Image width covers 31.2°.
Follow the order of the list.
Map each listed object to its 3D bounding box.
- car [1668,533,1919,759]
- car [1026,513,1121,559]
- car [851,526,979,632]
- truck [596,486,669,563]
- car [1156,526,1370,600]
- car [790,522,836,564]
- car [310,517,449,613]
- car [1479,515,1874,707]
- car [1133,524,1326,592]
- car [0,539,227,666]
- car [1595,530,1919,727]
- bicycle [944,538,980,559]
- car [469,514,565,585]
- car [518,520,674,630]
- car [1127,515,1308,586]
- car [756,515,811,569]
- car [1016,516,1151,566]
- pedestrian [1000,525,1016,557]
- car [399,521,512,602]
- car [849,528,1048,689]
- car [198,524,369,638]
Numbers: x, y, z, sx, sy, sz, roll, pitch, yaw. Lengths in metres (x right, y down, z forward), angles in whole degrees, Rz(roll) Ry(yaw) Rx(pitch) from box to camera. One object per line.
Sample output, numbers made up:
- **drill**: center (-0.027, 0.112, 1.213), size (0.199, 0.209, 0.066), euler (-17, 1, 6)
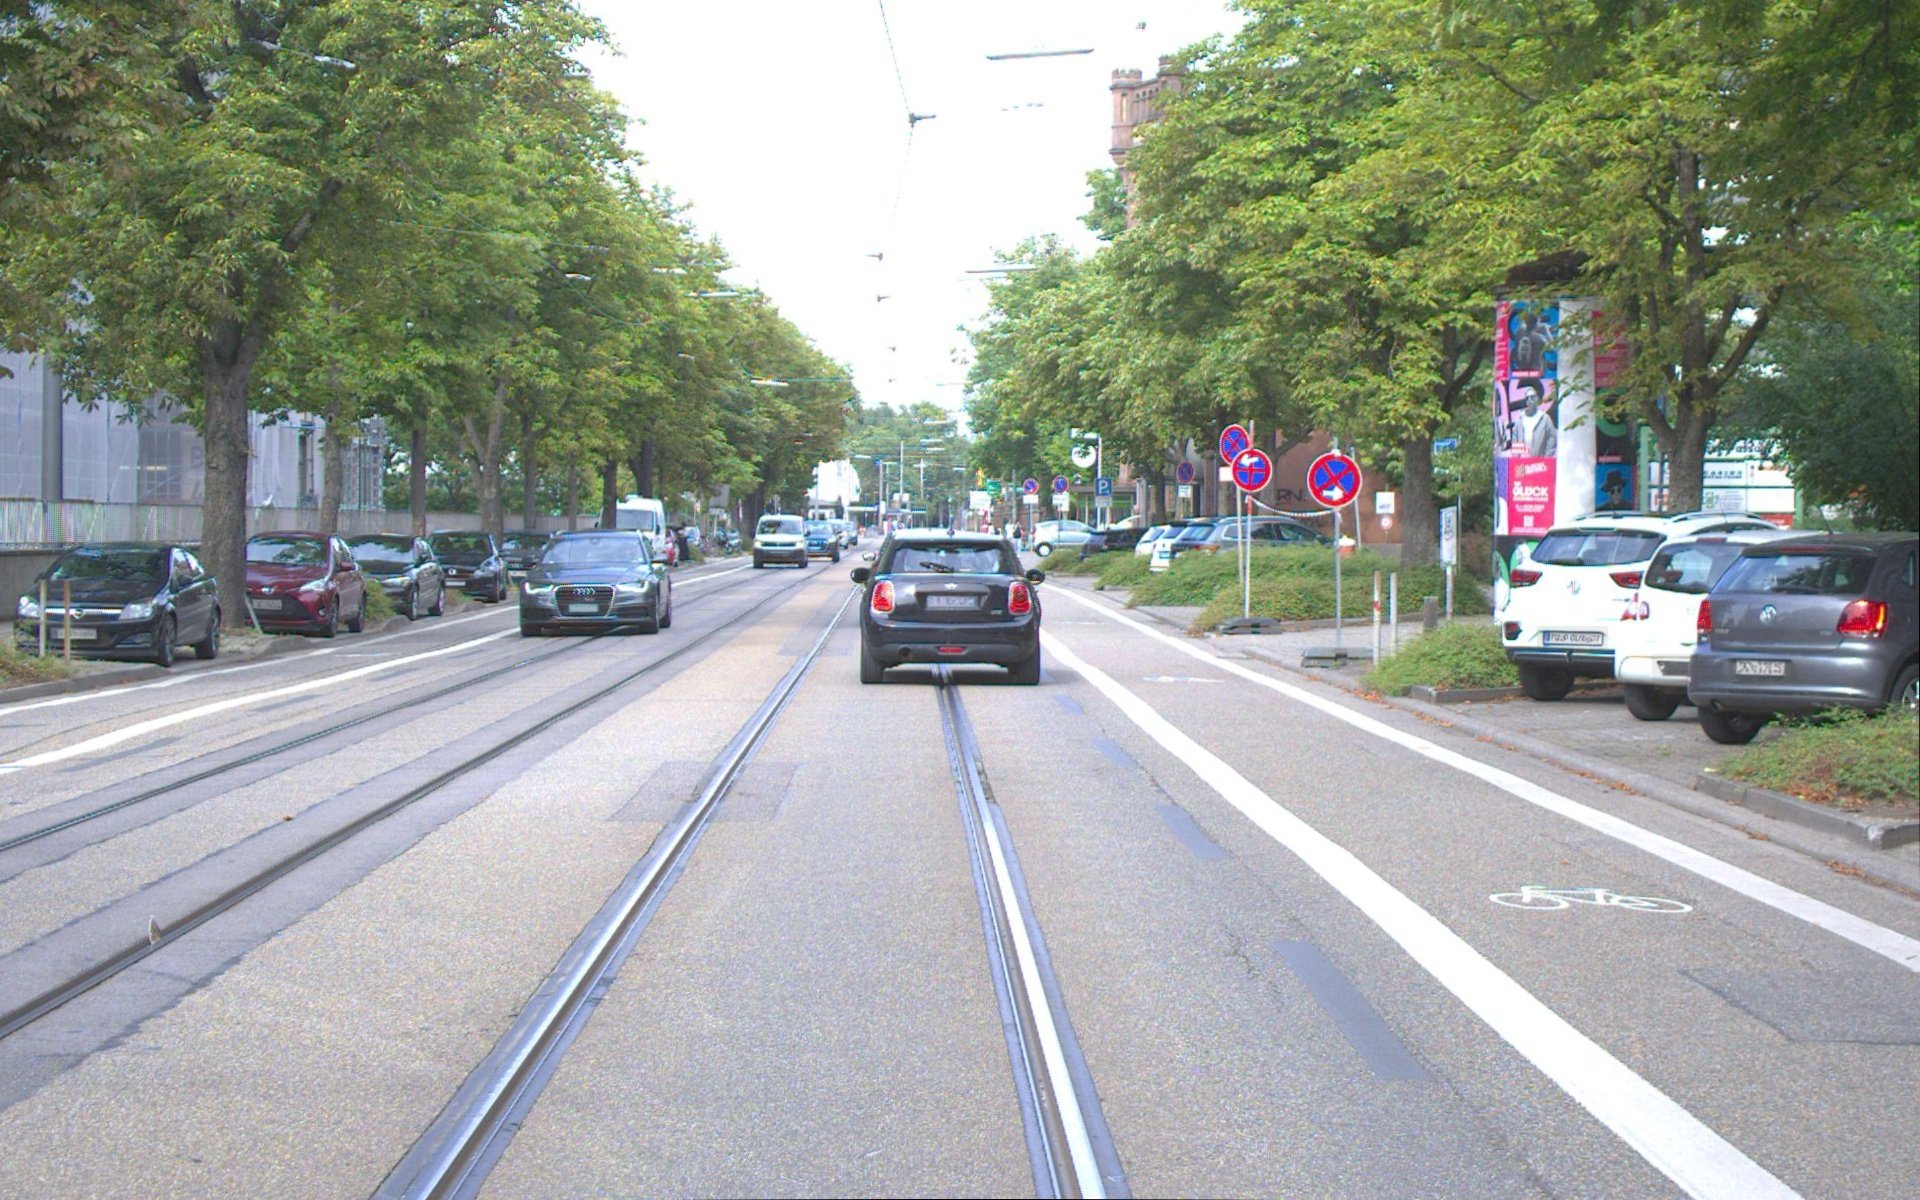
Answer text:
- **car**: center (6.701, 0.272, 23.881), size (3.525, 1.437, 1.623), euler (0, 2, -40)
- **car**: center (5.022, -2.852, 152.812), size (3.986, 1.904, 2.000), euler (1, 1, -4)
- **car**: center (-0.706, -0.347, 51.693), size (1.793, 1.465, 4.001), euler (2, 1, -2)
- **truck**: center (-10.782, -2.482, 113.510), size (2.071, 2.462, 4.899), euler (-1, 1, -2)
- **car**: center (6.027, -0.748, 68.711), size (3.986, 1.420, 1.885), euler (1, 1, -4)
- **car**: center (-5.918, -2.310, 138.680), size (1.802, 1.616, 4.485), euler (-1, 1, -2)
- **car**: center (-9.941, -0.621, 59.106), size (1.802, 1.578, 4.032), euler (-1, 1, -2)
- **car**: center (6.297, 0.067, 30.084), size (3.437, 1.567, 1.560), euler (0, 2, -40)
- **car**: center (5.910, -0.932, 75.610), size (3.986, 1.420, 1.885), euler (1, 1, -4)
- **car**: center (-9.780, -0.011, 39.850), size (1.802, 1.369, 4.032), euler (-1, 1, -2)
- **car**: center (6.728, 0.190, 27.009), size (3.437, 1.437, 1.560), euler (0, 2, -40)
- **bicycle**: center (0.098, -2.627, 174.762), size (1.721, 0.988, 0.658), euler (2, 1, 8)
- **car**: center (-10.274, -1.187, 79.983), size (1.802, 1.578, 4.032), euler (-1, 1, -2)
- **car**: center (-5.067, -0.389, 48.383), size (1.834, 1.443, 4.554), euler (1, 1, -2)
- **car**: center (6.047, -1.171, 81.014), size (3.986, 1.622, 1.885), euler (1, 1, -4)
- **car**: center (-6.114, -2.027, 119.303), size (1.802, 1.817, 4.485), euler (-1, 1, -2)
- **car**: center (3.812, -1.838, 106.616), size (3.986, 1.503, 1.885), euler (1, 1, -4)
- **pedestrian**: center (2.505, -3.087, 179.165), size (0.726, 1.640, 0.766), euler (2, 1, 9)
- **car**: center (-10.219, -0.803, 69.838), size (1.802, 1.578, 4.032), euler (-1, 1, -2)
- **car**: center (-0.161, 0.038, 33.533), size (1.793, 1.418, 4.001), euler (1, 1, -2)
- **car**: center (-9.833, -0.312, 50.239), size (1.802, 1.578, 4.032), euler (-1, 1, -2)
